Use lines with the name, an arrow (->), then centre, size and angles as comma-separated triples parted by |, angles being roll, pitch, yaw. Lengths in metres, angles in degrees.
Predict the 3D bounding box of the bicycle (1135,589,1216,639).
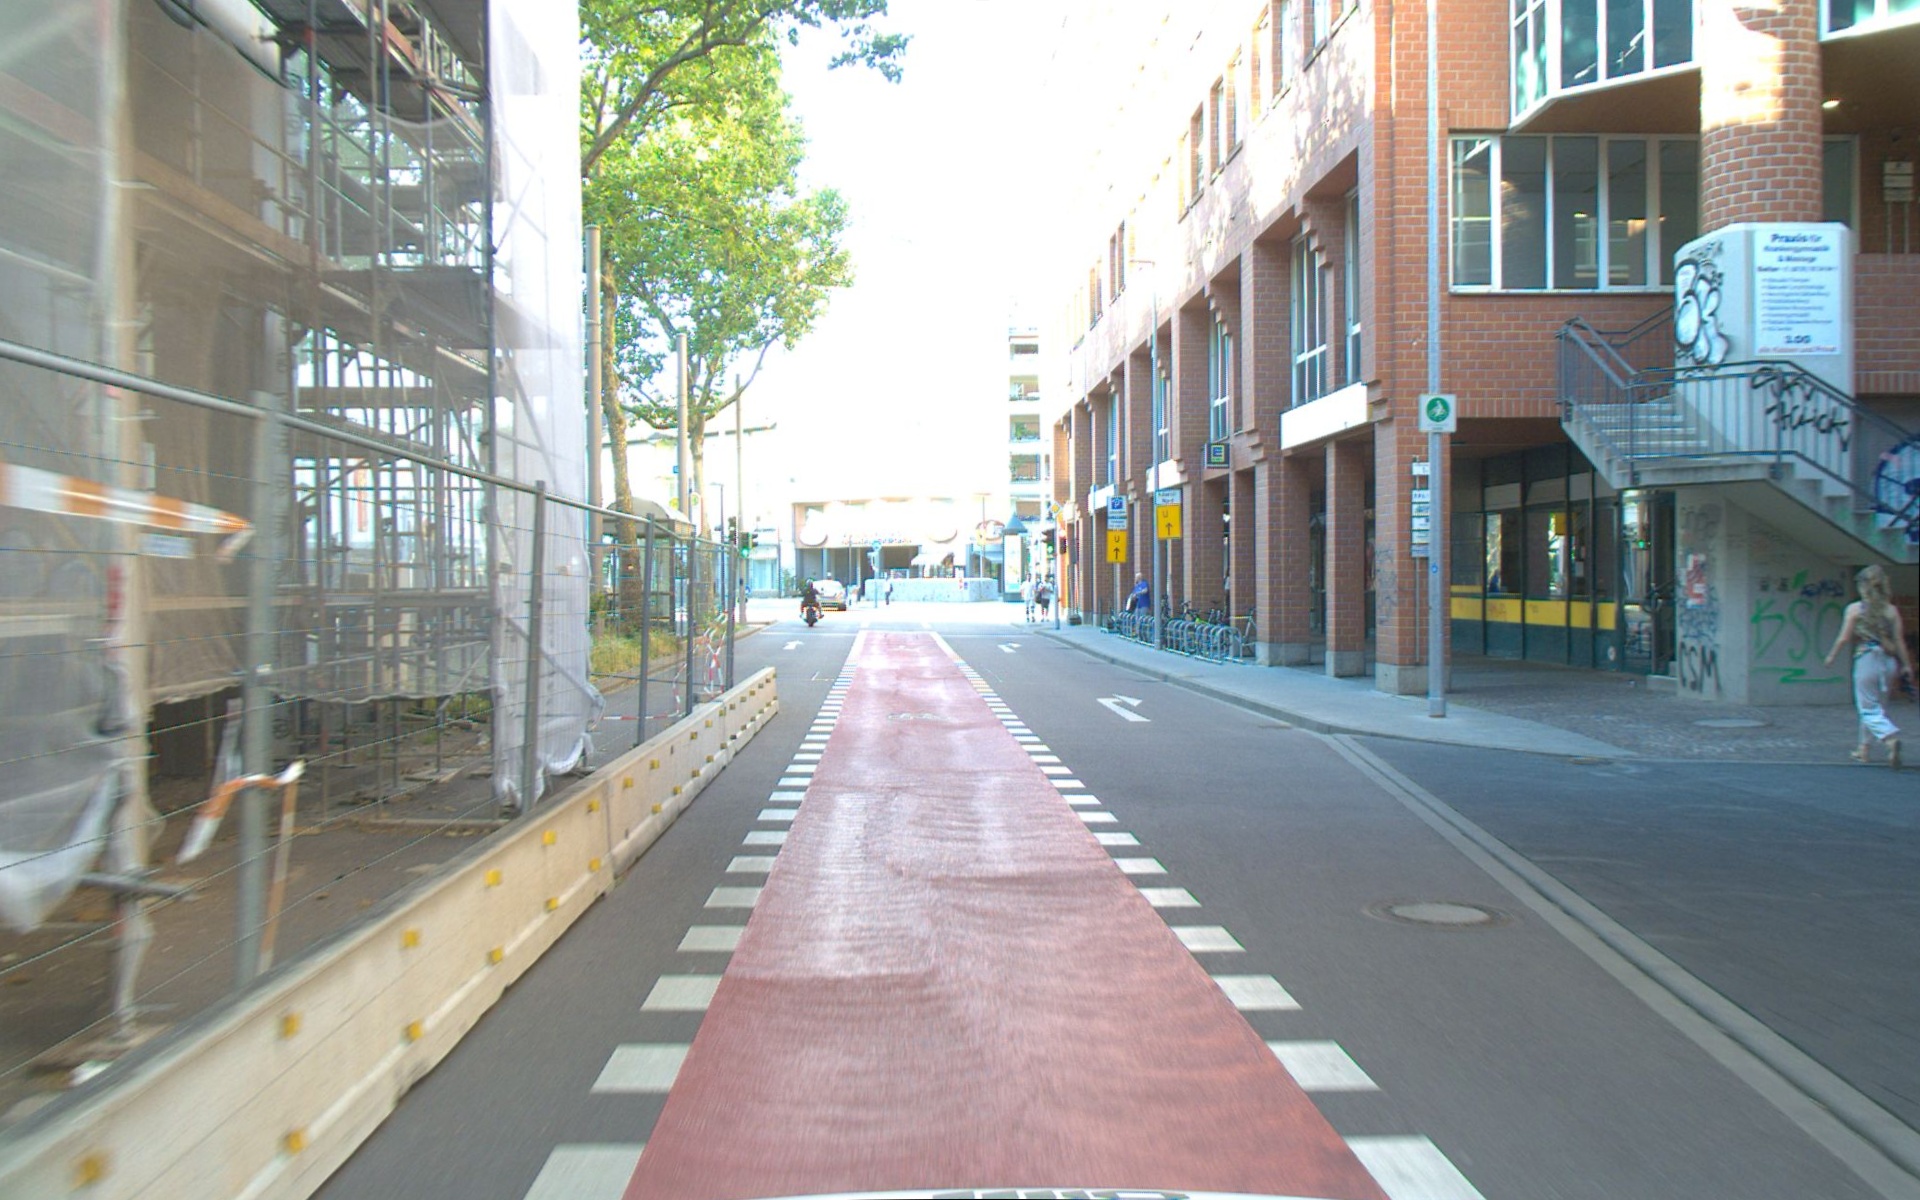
bicycle -> 5.193, 0.331, 39.919 | 1.853, 1.138, 0.474 | -1, 1, -3

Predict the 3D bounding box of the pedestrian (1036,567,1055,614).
pedestrian -> 3.234, -0.348, 62.540 | 0.621, 1.755, 0.630 | -1, 1, -3

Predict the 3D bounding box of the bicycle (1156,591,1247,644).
bicycle -> 5.335, 0.384, 36.660 | 1.893, 1.075, 0.573 | -3, 1, 0

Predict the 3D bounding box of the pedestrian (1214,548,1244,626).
pedestrian -> 7.143, -0.357, 43.998 | 0.596, 2.049, 0.660 | -1, 1, -8

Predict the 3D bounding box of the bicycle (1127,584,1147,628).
bicycle -> 5.004, 0.153, 46.846 | 0.333, 1.204, 1.678 | -1, 1, -1

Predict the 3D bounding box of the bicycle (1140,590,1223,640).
bicycle -> 5.258, 0.346, 39.293 | 1.854, 1.138, 0.550 | -1, 1, -3

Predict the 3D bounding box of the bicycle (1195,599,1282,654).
bicycle -> 5.458, 0.518, 32.458 | 1.579, 0.971, 0.555 | -3, 1, -1

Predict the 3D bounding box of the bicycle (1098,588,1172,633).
bicycle -> 4.596, 0.275, 43.410 | 1.854, 1.138, 0.474 | -1, 1, -3

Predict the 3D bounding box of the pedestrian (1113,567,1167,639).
pedestrian -> 4.519, 0.067, 41.550 | 1.170, 1.726, 0.885 | -3, 1, 0

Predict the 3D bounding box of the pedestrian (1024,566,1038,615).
pedestrian -> 2.672, -0.363, 62.632 | 0.466, 1.824, 0.541 | -1, 1, -3

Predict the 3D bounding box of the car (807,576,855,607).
car -> -6.344, -0.428, 80.873 | 1.889, 1.413, 3.989 | -1, 1, -11

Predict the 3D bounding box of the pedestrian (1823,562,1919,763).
pedestrian -> 7.840, 0.509, 14.078 | 0.558, 1.661, 0.777 | 0, 0, -4

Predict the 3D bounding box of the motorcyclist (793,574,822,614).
motorcyclist -> -5.254, -0.220, 56.958 | 0.951, 1.370, 1.137 | 0, 1, -4

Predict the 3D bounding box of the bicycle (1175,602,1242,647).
bicycle -> 5.278, 0.522, 35.160 | 1.307, 0.856, 0.424 | -3, 1, -1

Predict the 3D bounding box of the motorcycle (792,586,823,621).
motorcycle -> -5.246, 0.099, 56.909 | 0.954, 1.151, 2.803 | 0, 1, -3

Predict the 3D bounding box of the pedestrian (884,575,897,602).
pedestrian -> -4.159, -0.668, 99.605 | 0.548, 1.611, 0.537 | 0, 1, 44
